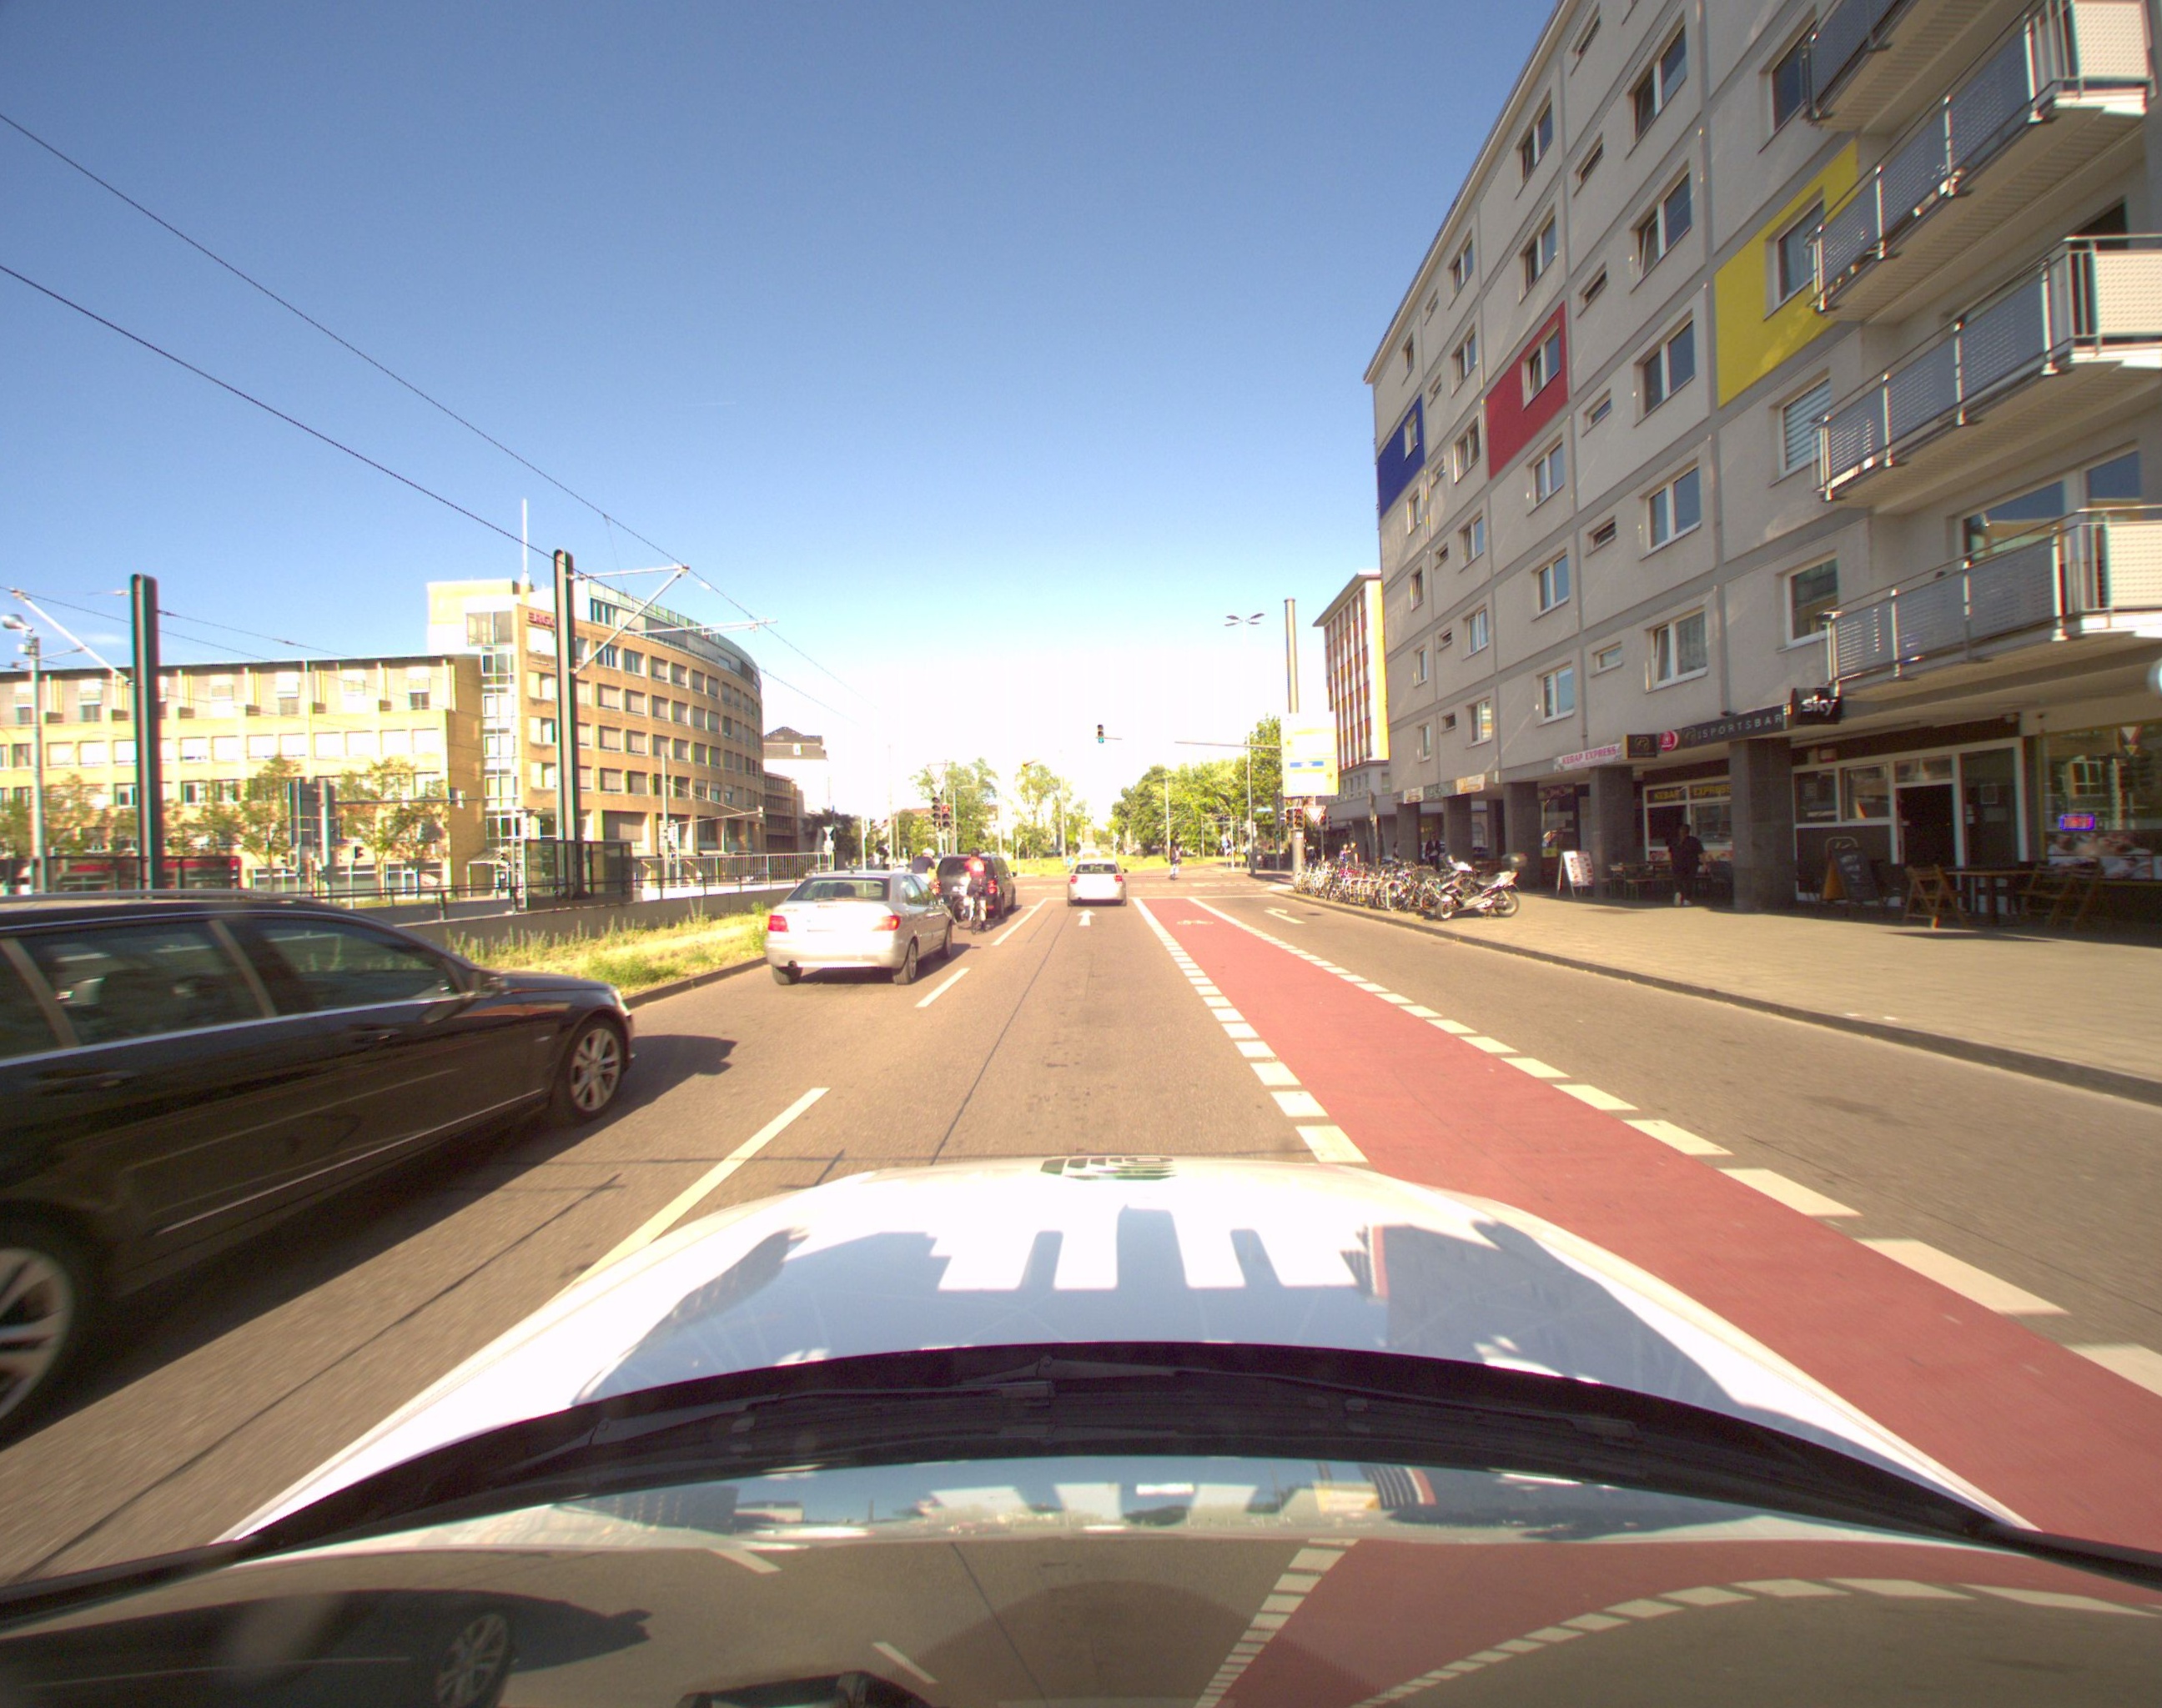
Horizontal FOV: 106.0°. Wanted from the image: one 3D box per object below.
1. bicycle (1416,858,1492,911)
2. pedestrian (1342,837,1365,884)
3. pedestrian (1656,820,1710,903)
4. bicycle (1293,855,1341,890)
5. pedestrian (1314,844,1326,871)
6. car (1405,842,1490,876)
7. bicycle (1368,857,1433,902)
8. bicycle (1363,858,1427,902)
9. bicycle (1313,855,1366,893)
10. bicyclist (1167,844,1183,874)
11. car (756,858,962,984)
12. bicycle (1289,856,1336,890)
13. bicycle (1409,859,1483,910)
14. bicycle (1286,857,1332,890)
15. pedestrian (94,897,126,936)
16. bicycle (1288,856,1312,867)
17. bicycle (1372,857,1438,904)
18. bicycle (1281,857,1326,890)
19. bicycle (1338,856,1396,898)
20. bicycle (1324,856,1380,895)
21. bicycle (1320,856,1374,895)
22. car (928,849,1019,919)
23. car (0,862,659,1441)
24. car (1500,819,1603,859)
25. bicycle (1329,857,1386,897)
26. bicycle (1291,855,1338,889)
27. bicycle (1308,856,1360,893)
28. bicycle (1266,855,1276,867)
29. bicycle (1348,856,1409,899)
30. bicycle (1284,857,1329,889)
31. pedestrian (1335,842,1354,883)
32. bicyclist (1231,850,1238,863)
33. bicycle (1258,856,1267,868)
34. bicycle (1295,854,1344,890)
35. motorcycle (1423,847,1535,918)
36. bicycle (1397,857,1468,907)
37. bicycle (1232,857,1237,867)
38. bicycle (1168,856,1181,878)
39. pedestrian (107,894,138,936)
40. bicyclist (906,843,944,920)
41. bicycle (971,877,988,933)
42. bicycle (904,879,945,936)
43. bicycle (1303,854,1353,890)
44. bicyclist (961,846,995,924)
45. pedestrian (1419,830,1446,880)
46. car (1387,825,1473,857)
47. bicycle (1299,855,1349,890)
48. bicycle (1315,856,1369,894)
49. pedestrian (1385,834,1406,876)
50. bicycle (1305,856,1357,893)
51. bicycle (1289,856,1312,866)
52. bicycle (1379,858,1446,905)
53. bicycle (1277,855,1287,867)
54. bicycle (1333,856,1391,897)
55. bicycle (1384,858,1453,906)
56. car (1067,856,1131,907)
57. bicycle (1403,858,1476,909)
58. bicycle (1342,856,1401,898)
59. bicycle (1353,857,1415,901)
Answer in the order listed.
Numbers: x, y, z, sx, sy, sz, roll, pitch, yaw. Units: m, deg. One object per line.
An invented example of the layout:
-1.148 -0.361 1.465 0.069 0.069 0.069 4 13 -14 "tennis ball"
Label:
8.055 0.663 17.613 1.459 1.067 0.257 -3 -1 3 "bicycle"
11.959 0.275 35.739 0.786 2.014 0.872 0 -1 8 "pedestrian"
11.995 0.146 16.230 0.552 1.582 0.575 -4 -1 1 "pedestrian"
7.752 0.596 26.768 1.459 1.067 0.257 -3 -1 3 "bicycle"
17.225 0.250 58.805 0.704 1.919 0.705 0 -1 5 "pedestrian"
22.347 0.284 49.794 4.344 2.014 1.974 0 0 2 "car"
8.003 0.640 20.404 1.459 1.067 0.257 -3 -1 3 "bicycle"
7.986 0.660 20.744 1.459 1.067 0.257 -3 -1 3 "bicycle"
7.793 0.604 24.581 1.459 1.067 0.257 -3 -1 3 "bicycle"
4.797 0.261 41.603 0.782 1.531 0.895 0 -1 1 "bicyclist"
-2.819 0.769 11.266 1.638 1.421 4.001 -1 0 1 "car"
7.803 0.630 27.489 1.459 1.067 0.257 -3 -1 3 "bicycle"
8.056 0.670 17.985 1.459 1.067 0.257 -3 -1 3 "bicycle"
7.807 0.660 27.899 1.459 1.067 0.257 -3 -1 3 "bicycle"
-36.478 2.349 30.596 0.610 1.428 0.490 0 -1 1 "pedestrian"
22.683 0.765 84.471 2.297 1.068 0.559 0 -1 24 "bicycle"
7.978 0.646 20.043 1.459 1.067 0.257 -3 -1 3 "bicycle"
7.816 0.677 28.606 1.459 1.067 0.257 -3 -1 3 "bicycle"
7.847 0.627 22.358 1.459 1.067 0.257 -3 -1 3 "bicycle"
7.811 0.621 23.493 1.459 1.067 0.257 -3 -1 3 "bicycle"
7.781 0.625 23.849 1.459 1.067 0.257 -3 -1 3 "bicycle"
-2.721 0.716 21.390 1.698 1.622 4.001 -2 0 1 "car"
-3.674 0.801 3.231 1.721 1.470 4.408 -1 0 -1 "car"
26.541 -0.809 46.102 4.574 2.212 2.190 0 0 2 "car"
7.853 0.641 23.135 1.459 1.067 0.257 -3 -1 3 "bicycle"
7.769 0.604 27.123 1.459 1.067 0.257 -3 -1 3 "bicycle"
7.754 0.632 25.018 1.459 1.067 0.257 -3 -1 3 "bicycle"
16.344 0.623 69.964 0.415 1.008 1.945 0 0 1 "bicycle"
7.871 0.625 21.589 1.459 1.067 0.257 -3 -1 3 "bicycle"
7.809 0.657 28.216 1.459 1.067 0.257 -3 -1 3 "bicycle"
12.183 0.405 37.673 0.819 1.856 0.921 0 -1 16 "pedestrian"
15.527 0.261 82.295 0.614 1.380 0.687 0 -1 3 "bicyclist"
15.622 0.650 70.081 0.415 1.008 1.945 0 0 1 "bicycle"
7.752 0.584 26.436 1.459 1.067 0.257 -3 -1 3 "bicycle"
7.898 0.557 16.230 1.846 1.301 0.653 -3 -1 4 "motorcycle"
8.108 0.649 18.783 1.459 1.067 0.257 -3 -1 3 "bicycle"
15.478 0.794 82.181 0.350 0.958 1.574 0 0 3 "bicycle"
4.766 0.672 41.639 0.497 1.088 1.998 0 0 2 "bicycle"
-35.722 2.269 30.361 0.441 1.531 0.568 0 -1 1 "pedestrian"
-3.226 0.556 16.851 0.614 1.572 0.687 0 -1 3 "bicyclist"
-2.122 1.038 16.960 0.338 1.056 1.773 0 0 -8 "bicycle"
-3.194 1.068 16.782 0.372 1.056 1.957 0 0 3 "bicycle"
7.793 0.573 25.709 1.459 1.067 0.257 -3 -1 3 "bicycle"
-2.159 0.637 17.009 0.616 1.571 0.684 -2 0 -10 "bicyclist"
14.151 0.044 32.796 0.838 2.014 0.892 0 -1 11 "pedestrian"
22.550 -0.842 52.772 4.709 2.014 2.260 0 0 2 "car"
7.774 0.586 26.047 1.459 1.067 0.257 -3 -1 3 "bicycle"
7.767 0.614 24.265 1.459 1.067 0.257 -3 -1 3 "bicycle"
15.274 0.036 39.549 0.870 2.014 0.916 0 -1 16 "pedestrian"
7.773 0.639 25.341 1.459 1.067 0.257 -3 -1 3 "bicycle"
22.917 0.750 85.130 2.297 1.068 0.559 0 -1 24 "bicycle"
7.994 0.653 19.673 1.459 1.067 0.257 -3 -1 3 "bicycle"
17.159 0.612 69.495 0.415 1.008 1.945 0 0 1 "bicycle"
7.837 0.638 22.748 1.459 1.067 0.257 -3 -1 3 "bicycle"
7.970 0.653 19.253 1.459 1.067 0.257 -3 -1 3 "bicycle"
0.600 0.810 25.627 1.791 1.415 4.002 -2 0 2 "car"
8.082 0.665 18.374 1.459 1.067 0.257 -3 -1 3 "bicycle"
7.845 0.624 22.005 1.459 1.067 0.257 -3 -1 3 "bicycle"
7.878 0.643 21.187 1.459 1.067 0.257 -3 -1 3 "bicycle"
